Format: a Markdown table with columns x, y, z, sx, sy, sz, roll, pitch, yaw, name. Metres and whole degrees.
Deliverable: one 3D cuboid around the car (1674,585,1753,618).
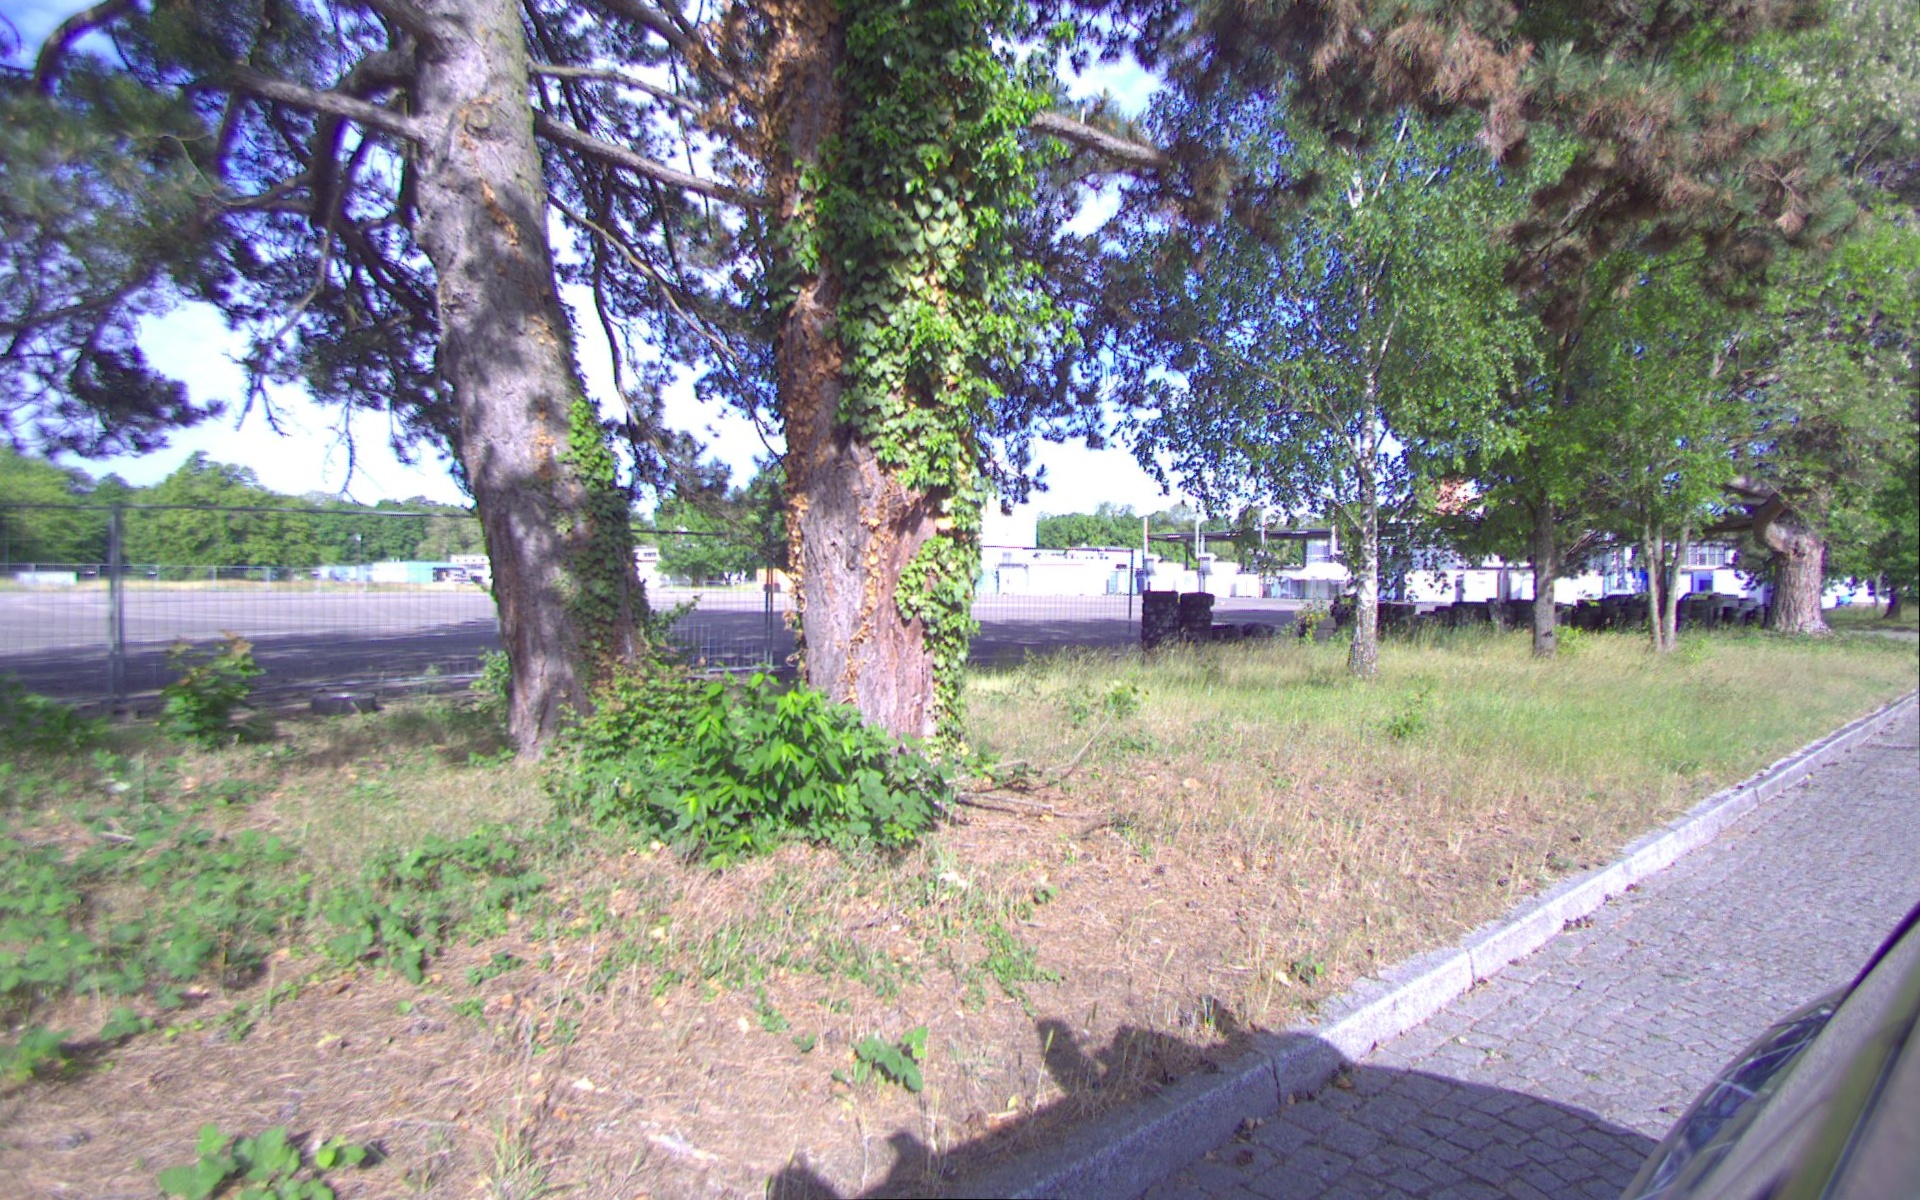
| x | y | z | sx | sy | sz | roll | pitch | yaw | name |
| --- | --- | --- | --- | --- | --- | --- | --- | --- | --- |
| 35.006 | 0.039 | 47.007 | 3.924 | 1.467 | 1.848 | 0 | 1 | -36 | car |
